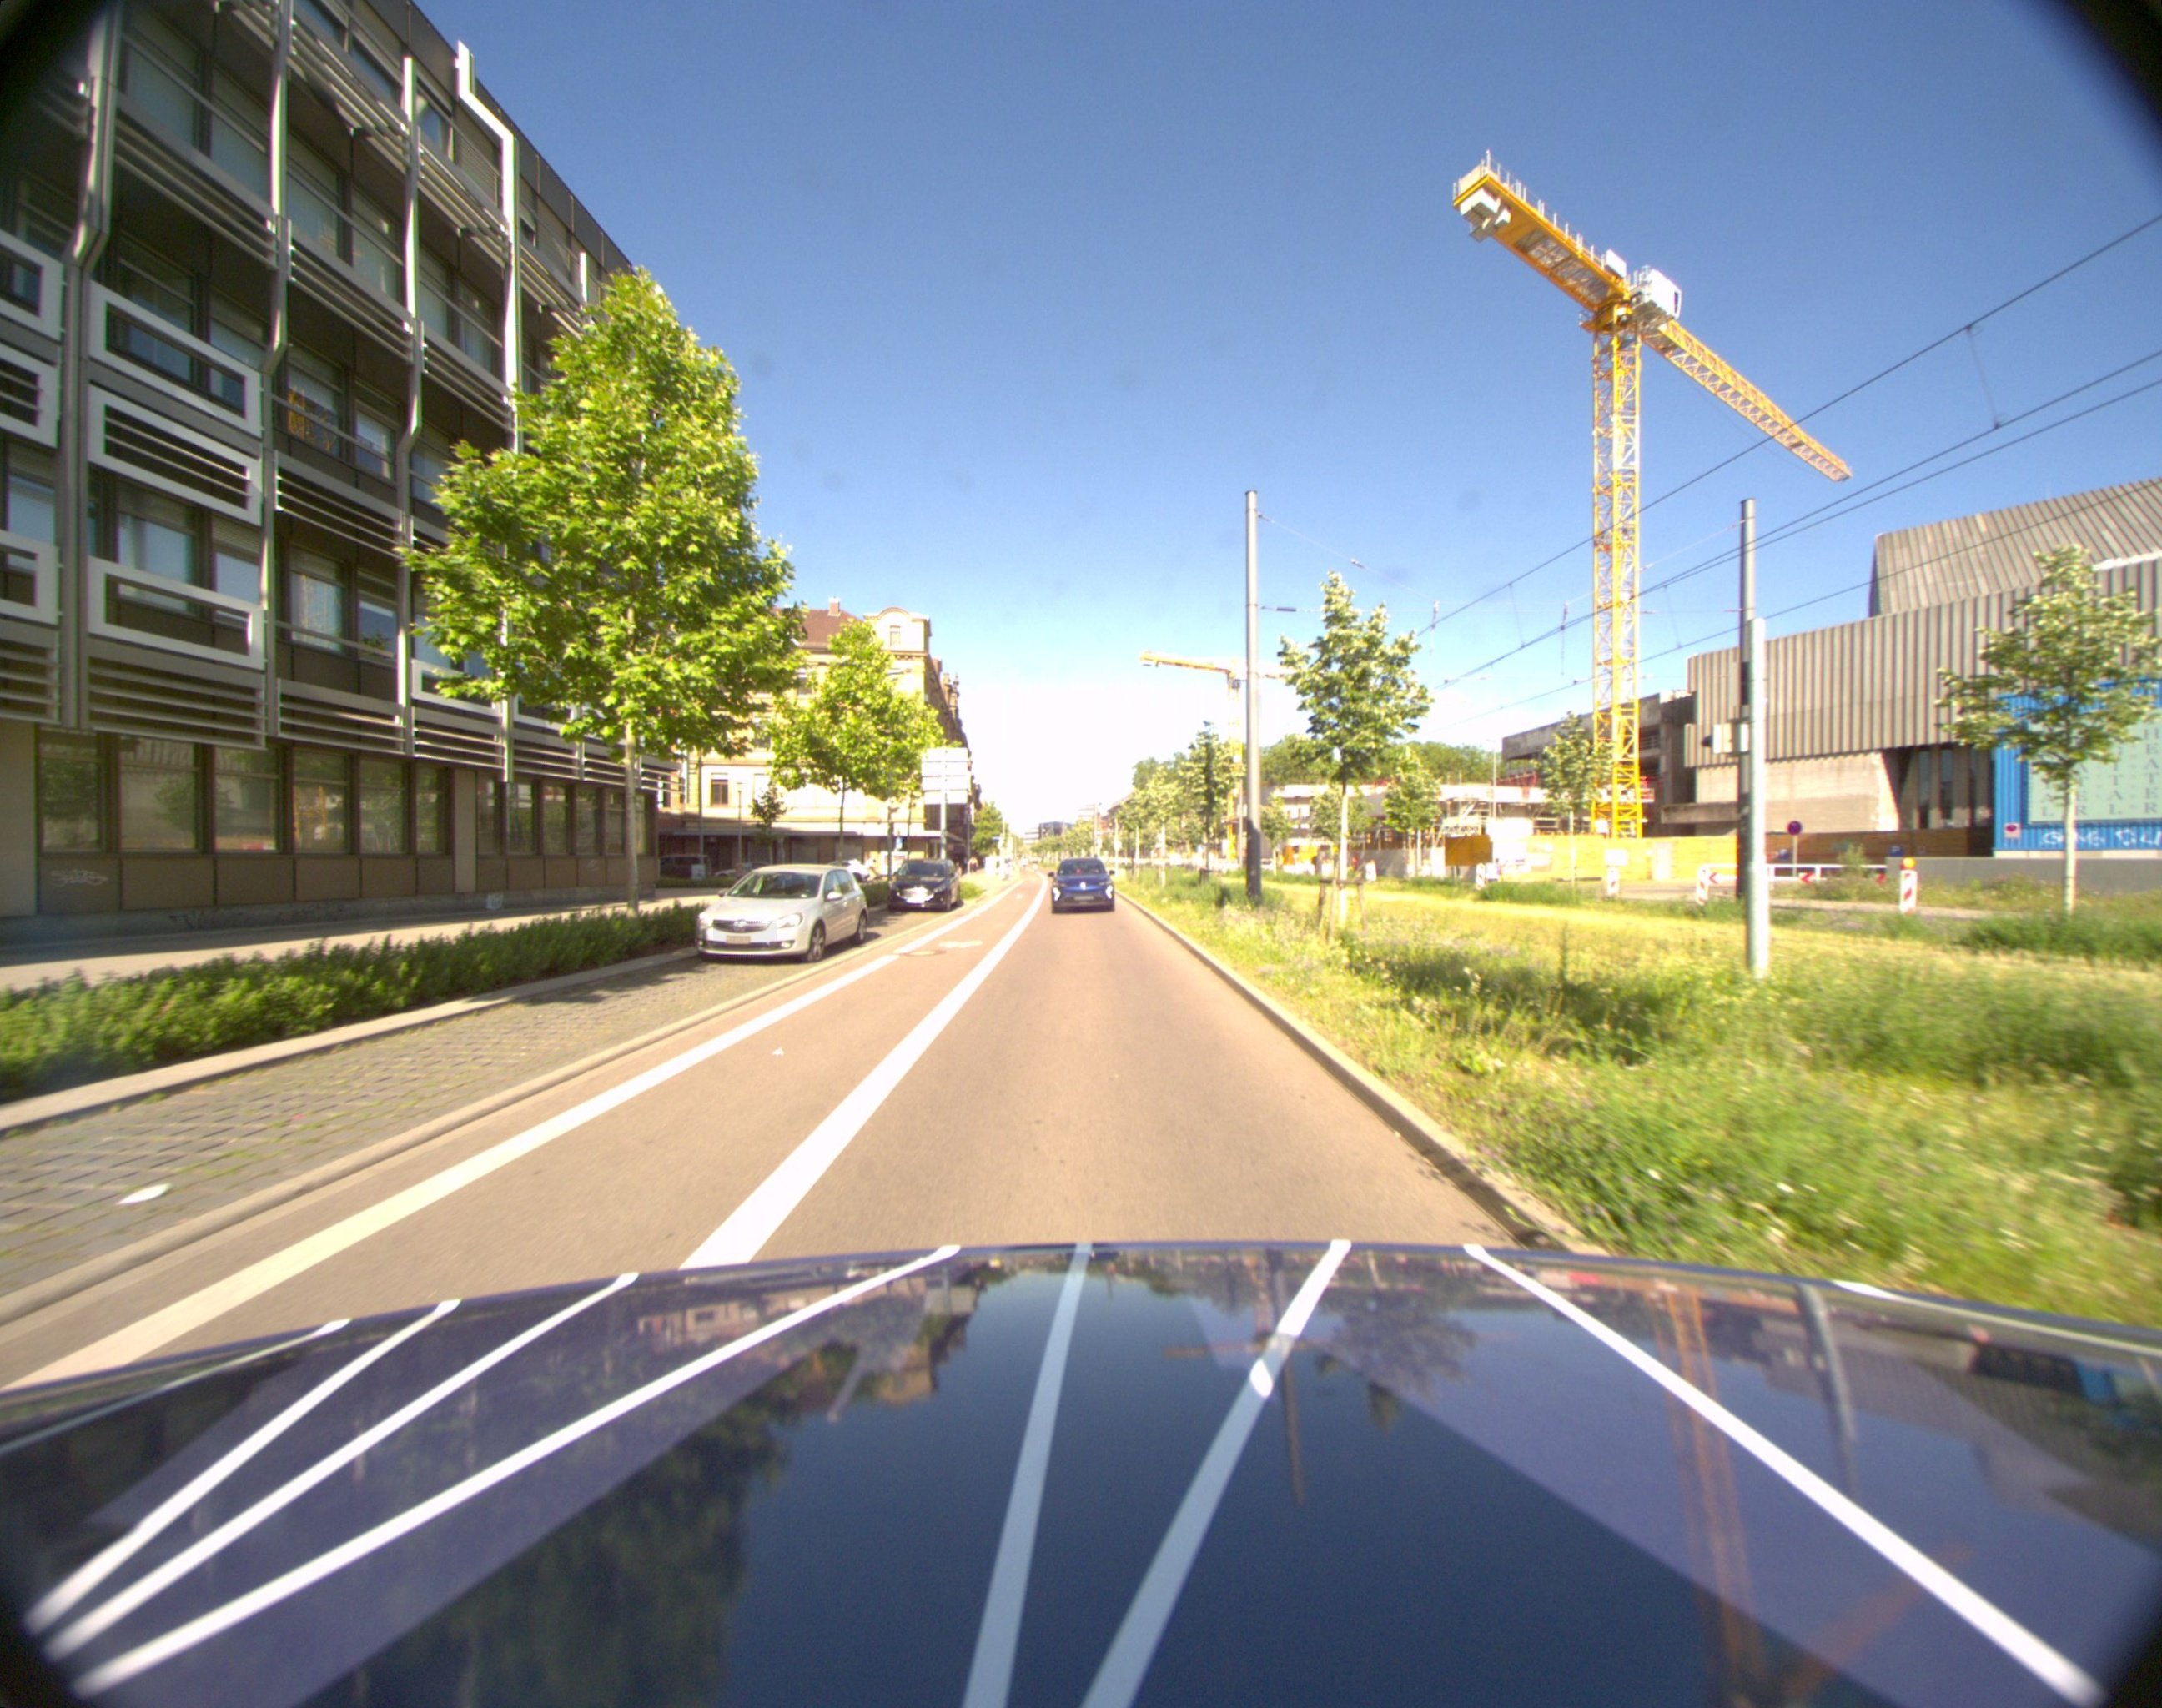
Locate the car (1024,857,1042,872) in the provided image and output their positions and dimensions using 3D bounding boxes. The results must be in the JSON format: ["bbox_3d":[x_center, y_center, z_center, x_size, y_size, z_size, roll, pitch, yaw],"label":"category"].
[{"bbox_3d":[-6.321,1.325,100.184,1.822,1.783,4.001,-2,1,4],"label":"car"}]

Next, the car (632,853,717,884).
[{"bbox_3d":[-24.390,0.846,45.707,4.168,1.742,1.815,0,0,-12],"label":"car"}]

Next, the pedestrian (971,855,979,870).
[{"bbox_3d":[-11.153,0.862,80.259,0.753,1.575,0.808,2,0,-4],"label":"pedestrian"}]

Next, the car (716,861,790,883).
[{"bbox_3d":[-21.317,1.160,49.488,4.193,1.386,1.556,0,-1,-13],"label":"car"}]

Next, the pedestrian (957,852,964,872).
[{"bbox_3d":[-10.766,0.726,67.846,0.512,1.791,0.501,-1,0,3],"label":"pedestrian"}]

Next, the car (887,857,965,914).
[{"bbox_3d":[-4.887,0.934,24.558,1.752,1.649,4.469,0,0,-2],"label":"car"}]

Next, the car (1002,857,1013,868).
[{"bbox_3d":[-11.622,1.299,120.262,1.670,1.574,3.747,-3,1,-4],"label":"car"}]

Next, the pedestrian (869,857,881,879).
[{"bbox_3d":[-14.126,0.956,52.077,0.683,1.442,0.543,0,1,-9],"label":"pedestrian"}]

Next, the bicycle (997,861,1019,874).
[{"bbox_3d":[-6.783,1.244,70.792,2.055,1.113,0.602,1,1,-5],"label":"bicycle"}]

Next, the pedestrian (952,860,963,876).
[{"bbox_3d":[-9.910,1.118,60.937,0.718,1.211,0.647,2,1,1],"label":"pedestrian"}]

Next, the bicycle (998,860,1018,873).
[{"bbox_3d":[-7.077,1.196,73.844,1.870,1.244,0.691,2,1,-5],"label":"bicycle"}]

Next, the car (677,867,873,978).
[{"bbox_3d":[-4.857,1.004,12.722,1.622,1.456,4.155,1,0,-1],"label":"car"}]

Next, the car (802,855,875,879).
[{"bbox_3d":[-16.072,0.853,50.554,4.409,1.535,1.851,0,0,-12],"label":"car"}]

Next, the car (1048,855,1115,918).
[{"bbox_3d":[0.105,0.901,22.780,1.748,1.613,4.153,-4,0,3],"label":"car"}]
